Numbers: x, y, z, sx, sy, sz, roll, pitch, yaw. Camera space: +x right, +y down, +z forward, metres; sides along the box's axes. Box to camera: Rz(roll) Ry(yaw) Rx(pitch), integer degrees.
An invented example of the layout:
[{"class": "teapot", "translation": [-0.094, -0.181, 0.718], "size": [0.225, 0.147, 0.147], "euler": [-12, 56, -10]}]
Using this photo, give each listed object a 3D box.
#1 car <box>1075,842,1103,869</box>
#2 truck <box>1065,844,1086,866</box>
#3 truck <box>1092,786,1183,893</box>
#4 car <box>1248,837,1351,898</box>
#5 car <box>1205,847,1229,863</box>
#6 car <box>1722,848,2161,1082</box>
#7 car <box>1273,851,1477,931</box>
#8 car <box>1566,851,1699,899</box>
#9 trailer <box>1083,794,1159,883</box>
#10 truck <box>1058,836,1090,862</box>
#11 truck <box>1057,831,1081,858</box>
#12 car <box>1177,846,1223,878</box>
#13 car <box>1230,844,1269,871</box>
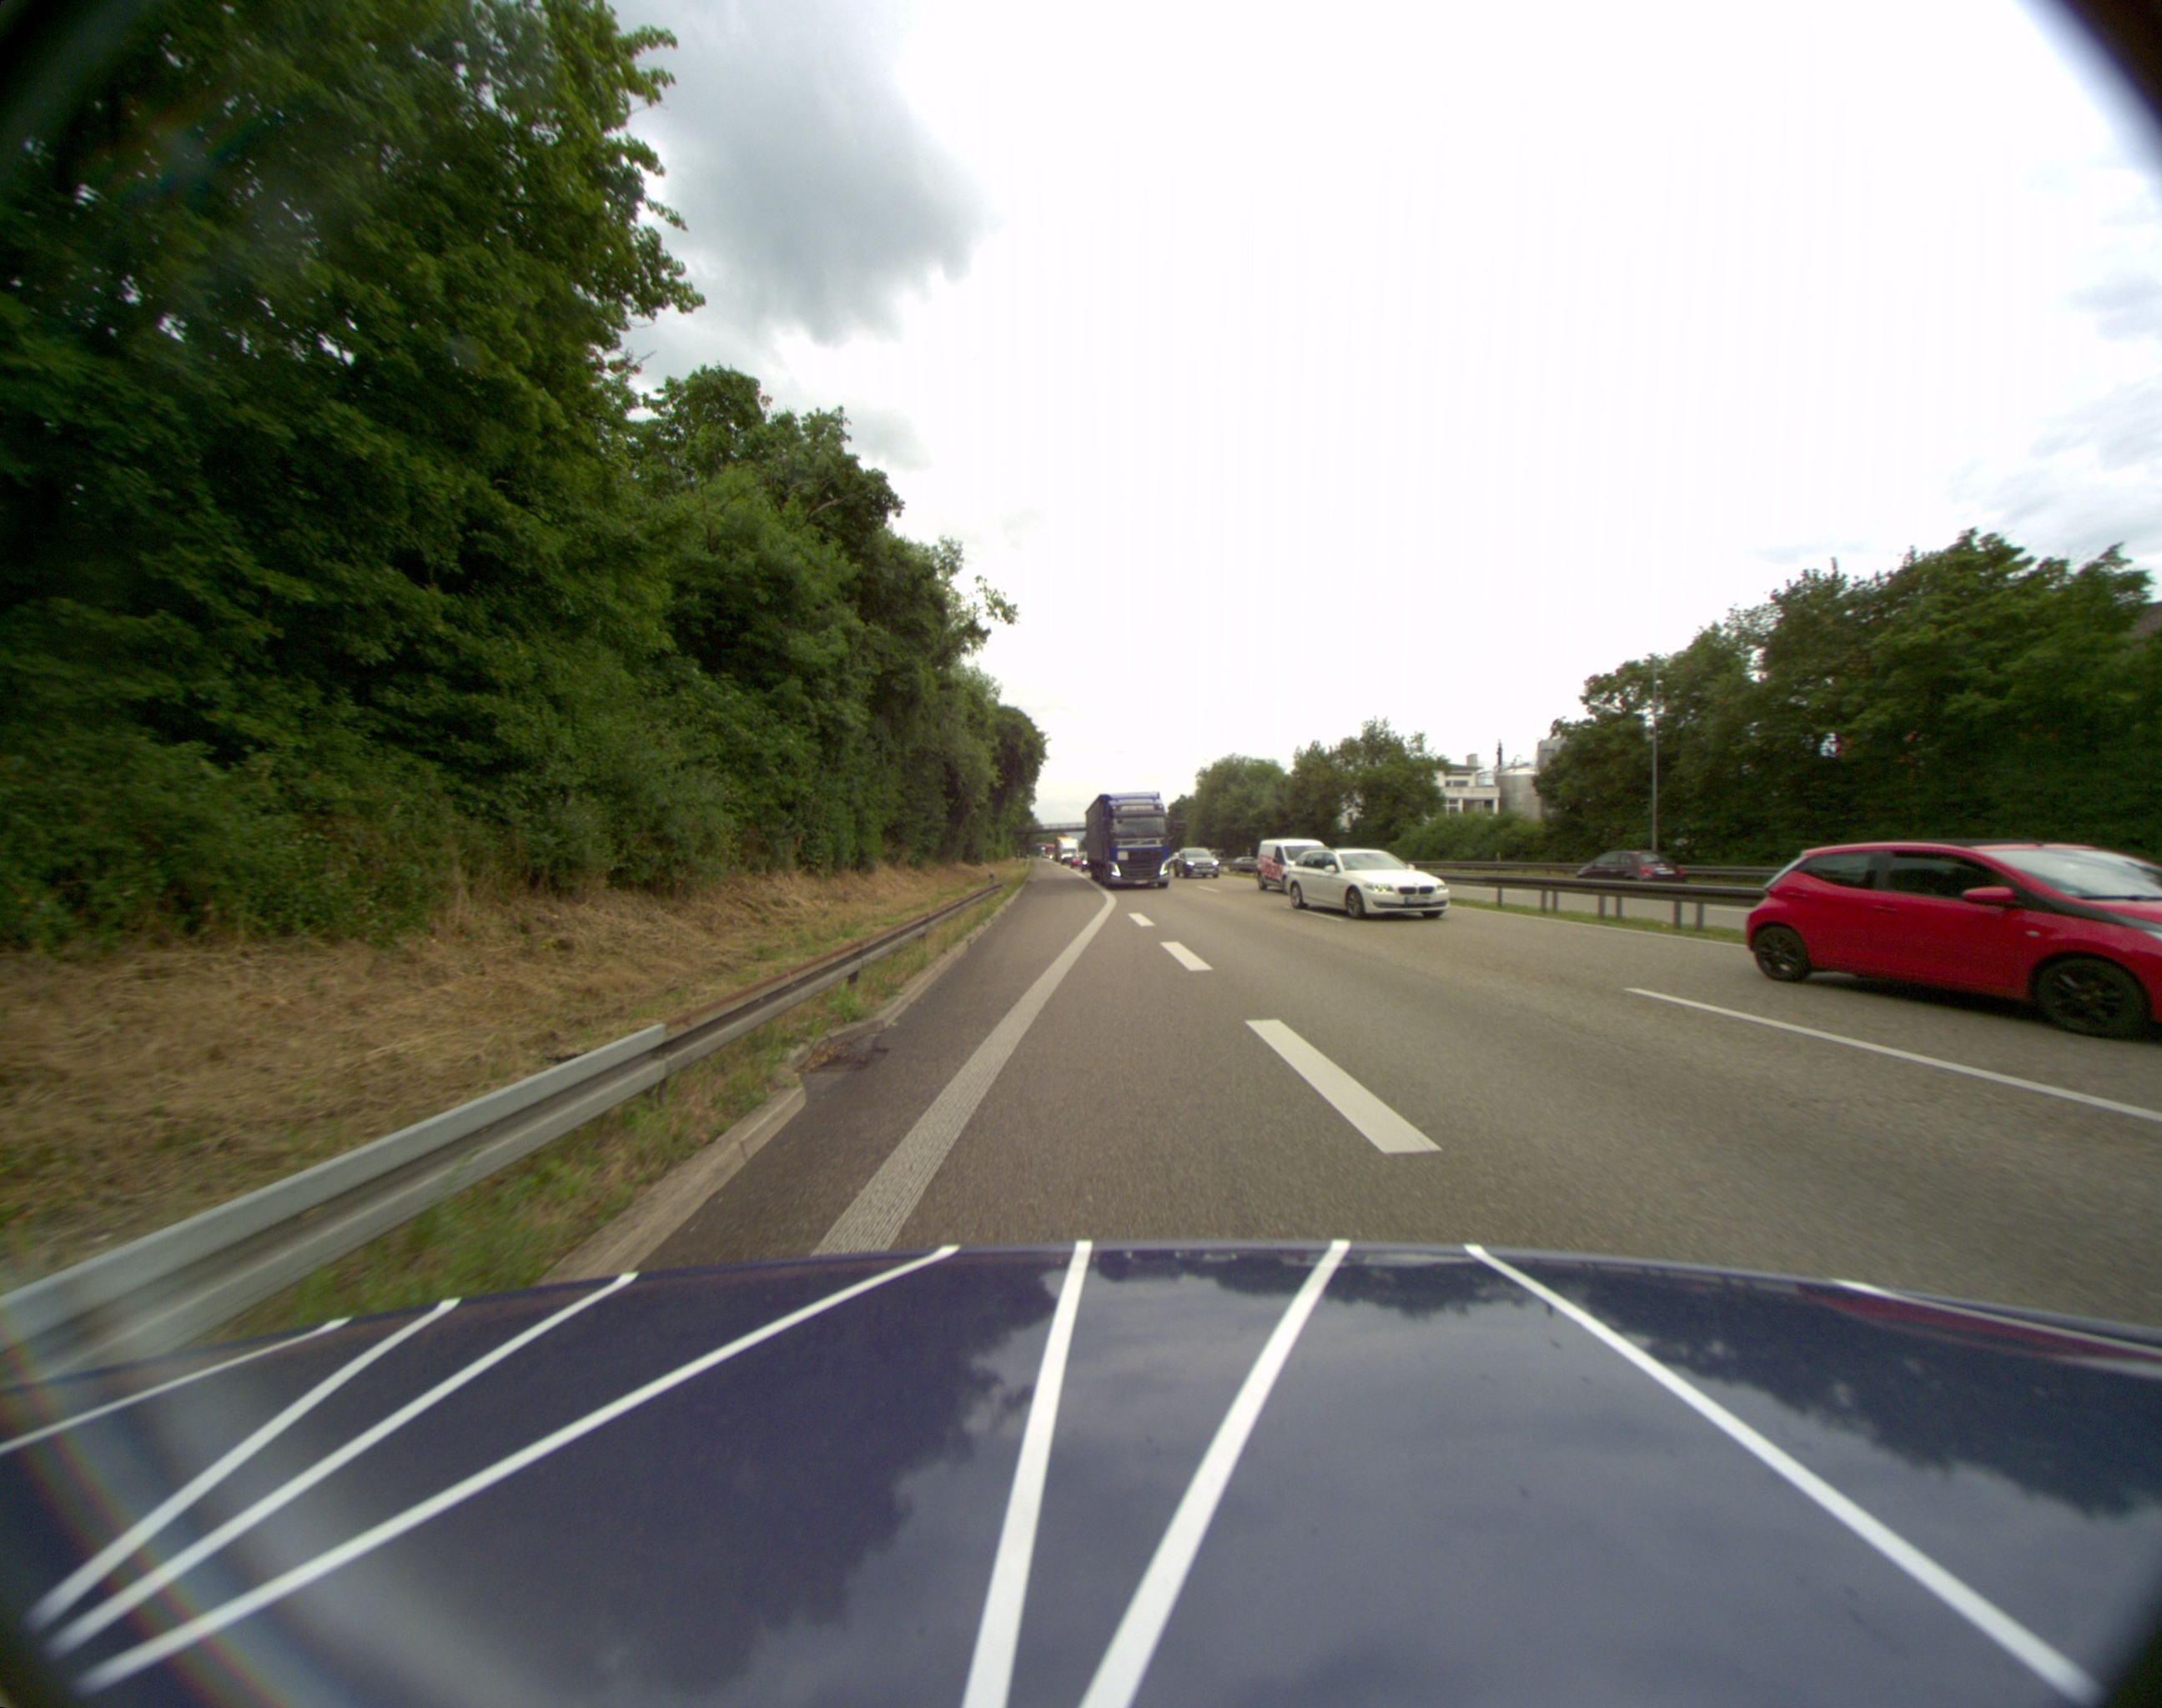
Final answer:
[{"class": "car", "translation": [0.598, 0.104, 58.268], "size": [1.752, 2.002, 3.998], "euler": [-1, 1, -5]}, {"class": "truck", "translation": [-0.516, 0.089, 73.891], "size": [1.894, 2.002, 6.090], "euler": [0, 0, 0]}, {"class": "truck", "translation": [2.210, -0.577, 32.560], "size": [2.961, 3.946, 7.469], "euler": [-2, 1, -2]}, {"class": "car", "translation": [7.233, 0.393, 25.756], "size": [1.852, 1.839, 5.005], "euler": [0, 0, -3]}, {"class": "car", "translation": [15.156, 0.063, 85.067], "size": [1.579, 1.756, 4.276], "euler": [-1, 1, -4]}, {"class": "car", "translation": [7.948, 0.723, 6.397], "size": [1.631, 1.515, 4.089], "euler": [0, 1, 0]}, {"class": "car", "translation": [6.188, 0.679, 16.858], "size": [2.064, 1.455, 5.255], "euler": [-1, 0, -6]}, {"class": "car", "translation": [18.455, 0.646, 25.652], "size": [1.578, 1.487, 3.831], "euler": [-1, 1, -4]}, {"class": "trailer", "translation": [1.886, -0.798, 41.514], "size": [2.845, 4.013, 13.081], "euler": [-2, 1, -2]}, {"class": "truck", "translation": [-0.973, -0.648, 95.096], "size": [3.366, 3.099, 7.236], "euler": [-2, 1, -5]}, {"class": "truck", "translation": [-2.032, -1.530, 124.630], "size": [3.366, 4.041, 10.179], "euler": [-2, 1, -4]}, {"class": "car", "translation": [6.410, 0.400, 41.432], "size": [1.848, 1.642, 3.999], "euler": [-1, 0, 0]}, {"class": "car", "translation": [12.732, 0.254, 57.582], "size": [1.999, 2.002, 3.999], "euler": [0, 1, -2]}]
